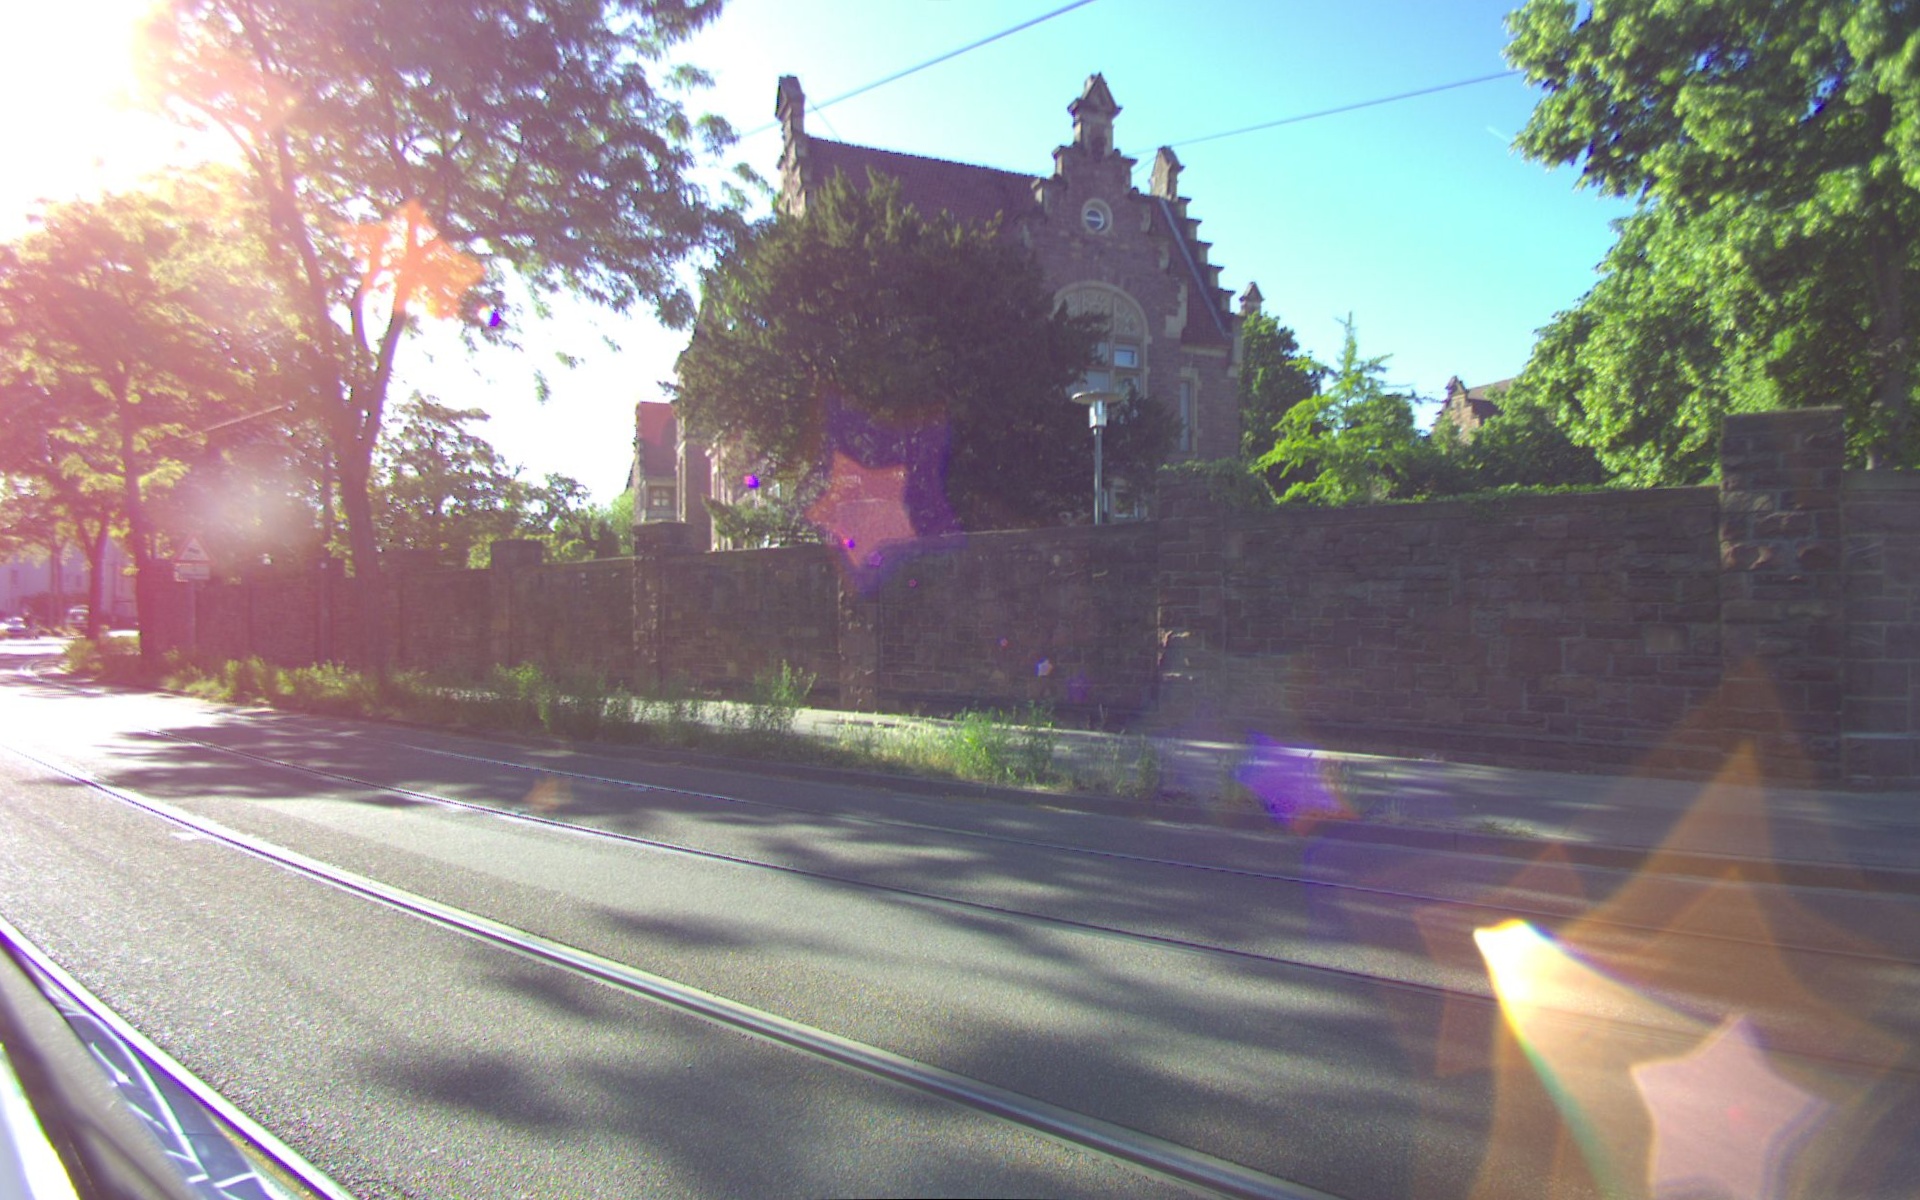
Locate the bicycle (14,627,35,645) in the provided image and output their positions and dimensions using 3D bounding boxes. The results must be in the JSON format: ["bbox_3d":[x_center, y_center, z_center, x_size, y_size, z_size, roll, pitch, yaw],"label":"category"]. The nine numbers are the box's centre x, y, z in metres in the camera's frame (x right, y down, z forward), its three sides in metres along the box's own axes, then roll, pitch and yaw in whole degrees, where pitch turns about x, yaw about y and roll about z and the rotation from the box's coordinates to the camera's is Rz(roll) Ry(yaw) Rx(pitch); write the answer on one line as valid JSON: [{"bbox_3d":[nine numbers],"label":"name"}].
[{"bbox_3d":[-60.068,2.281,65.005,0.579,1.120,1.861,0,-1,-30],"label":"bicycle"}]

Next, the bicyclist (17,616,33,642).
[{"bbox_3d":[-60.093,1.864,65.050,0.633,1.653,0.667,-1,0,-31],"label":"bicyclist"}]

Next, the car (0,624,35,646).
[{"bbox_3d":[-68.898,2.516,73.847,1.969,1.560,4.005,0,-1,-41],"label":"car"}]
